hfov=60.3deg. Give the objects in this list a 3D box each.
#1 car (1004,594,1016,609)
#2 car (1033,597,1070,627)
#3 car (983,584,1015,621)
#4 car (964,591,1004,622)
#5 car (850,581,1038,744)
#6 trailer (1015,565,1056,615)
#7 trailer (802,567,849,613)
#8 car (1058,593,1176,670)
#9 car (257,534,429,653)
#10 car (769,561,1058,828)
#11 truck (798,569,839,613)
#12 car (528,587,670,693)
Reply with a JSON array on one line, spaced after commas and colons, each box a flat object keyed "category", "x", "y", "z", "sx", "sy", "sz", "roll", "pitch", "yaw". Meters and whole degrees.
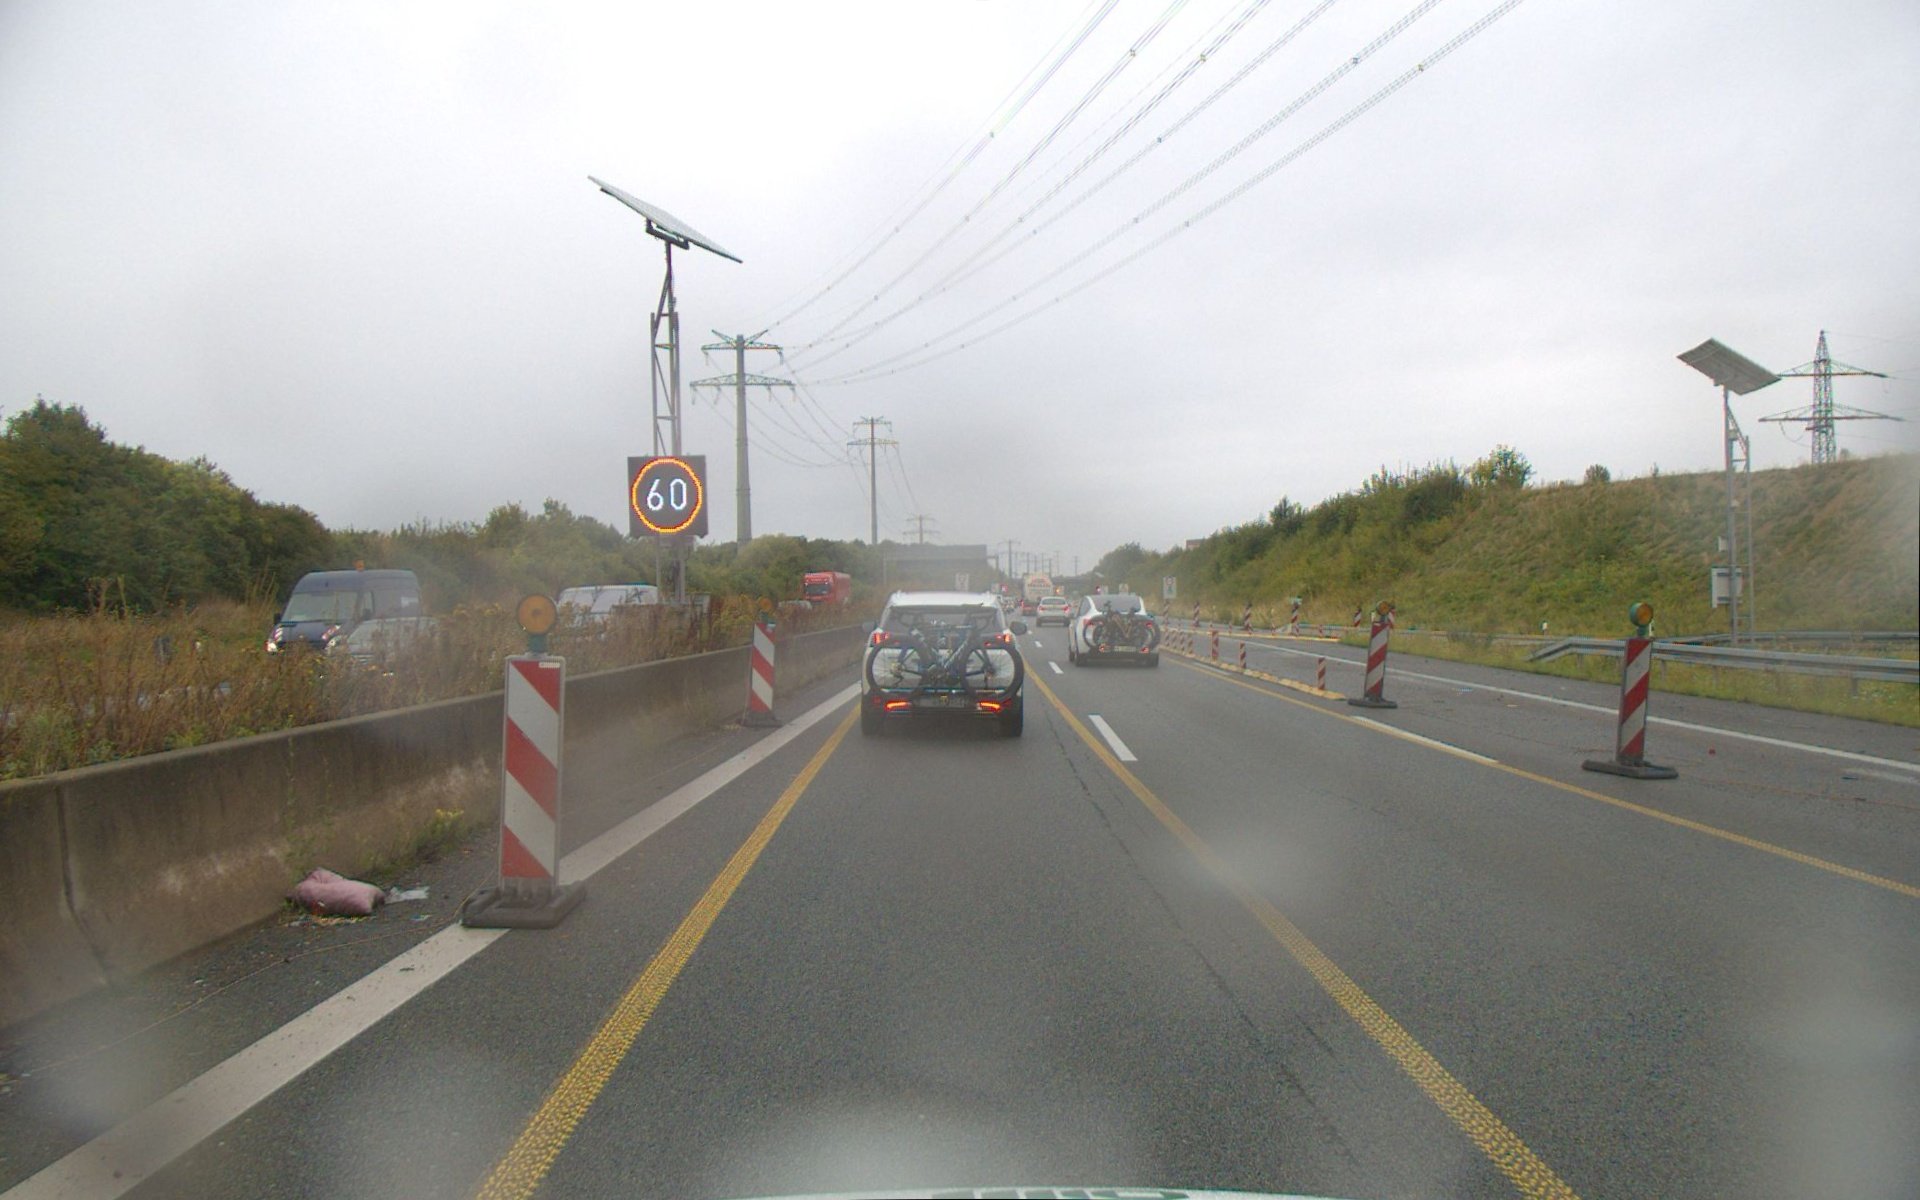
[{"category": "car", "x": 6.857, "y": 0.150, "z": 225.982, "sx": 1.619, "sy": 2.049, "sz": 4.001, "roll": 0, "pitch": 0, "yaw": 2}, {"category": "car", "x": 4.820, "y": 0.613, "z": 87.459, "sx": 1.831, "sy": 1.561, "sz": 4.197, "roll": 0, "pitch": 0, "yaw": 2}, {"category": "car", "x": 2.701, "y": 0.182, "z": 115.336, "sx": 1.953, "sy": 2.046, "sz": 4.003, "roll": 1, "pitch": 7, "yaw": -2}, {"category": "car", "x": 1.229, "y": 0.353, "z": 88.041, "sx": 1.953, "sy": 1.611, "sz": 3.999, "roll": 0, "pitch": 0, "yaw": -2}, {"category": "car", "x": -0.133, "y": 0.626, "z": 18.988, "sx": 1.888, "sy": 1.639, "sz": 4.595, "roll": 0, "pitch": 0, "yaw": 1}, {"category": "trailer", "x": 6.284, "y": -0.777, "z": 138.696, "sx": 2.584, "sy": 3.961, "sz": 10.539, "roll": 1, "pitch": -1, "yaw": -2}, {"category": "trailer", "x": -12.065, "y": -0.848, "z": 149.336, "sx": 2.975, "sy": 3.881, "sz": 13.977, "roll": 1, "pitch": -1, "yaw": 0}, {"category": "car", "x": 3.541, "y": 0.669, "z": 38.364, "sx": 2.004, "sy": 1.624, "sz": 5.799, "roll": 1, "pitch": 0, "yaw": -2}, {"category": "car", "x": -14.844, "y": -0.114, "z": 40.190, "sx": 2.009, "sy": 2.655, "sz": 5.846, "roll": 1, "pitch": -1, "yaw": -1}, {"category": "car", "x": -0.323, "y": 0.636, "z": 13.396, "sx": 1.953, "sy": 1.791, "sz": 4.000, "roll": -1, "pitch": 0, "yaw": 0}, {"category": "truck", "x": -12.116, "y": -0.740, "z": 142.156, "sx": 2.962, "sy": 3.593, "sz": 4.926, "roll": 1, "pitch": -1, "yaw": 0}, {"category": "car", "x": -7.655, "y": 0.802, "z": 35.618, "sx": 1.731, "sy": 2.049, "sz": 5.254, "roll": 2, "pitch": 0, "yaw": 1}]
